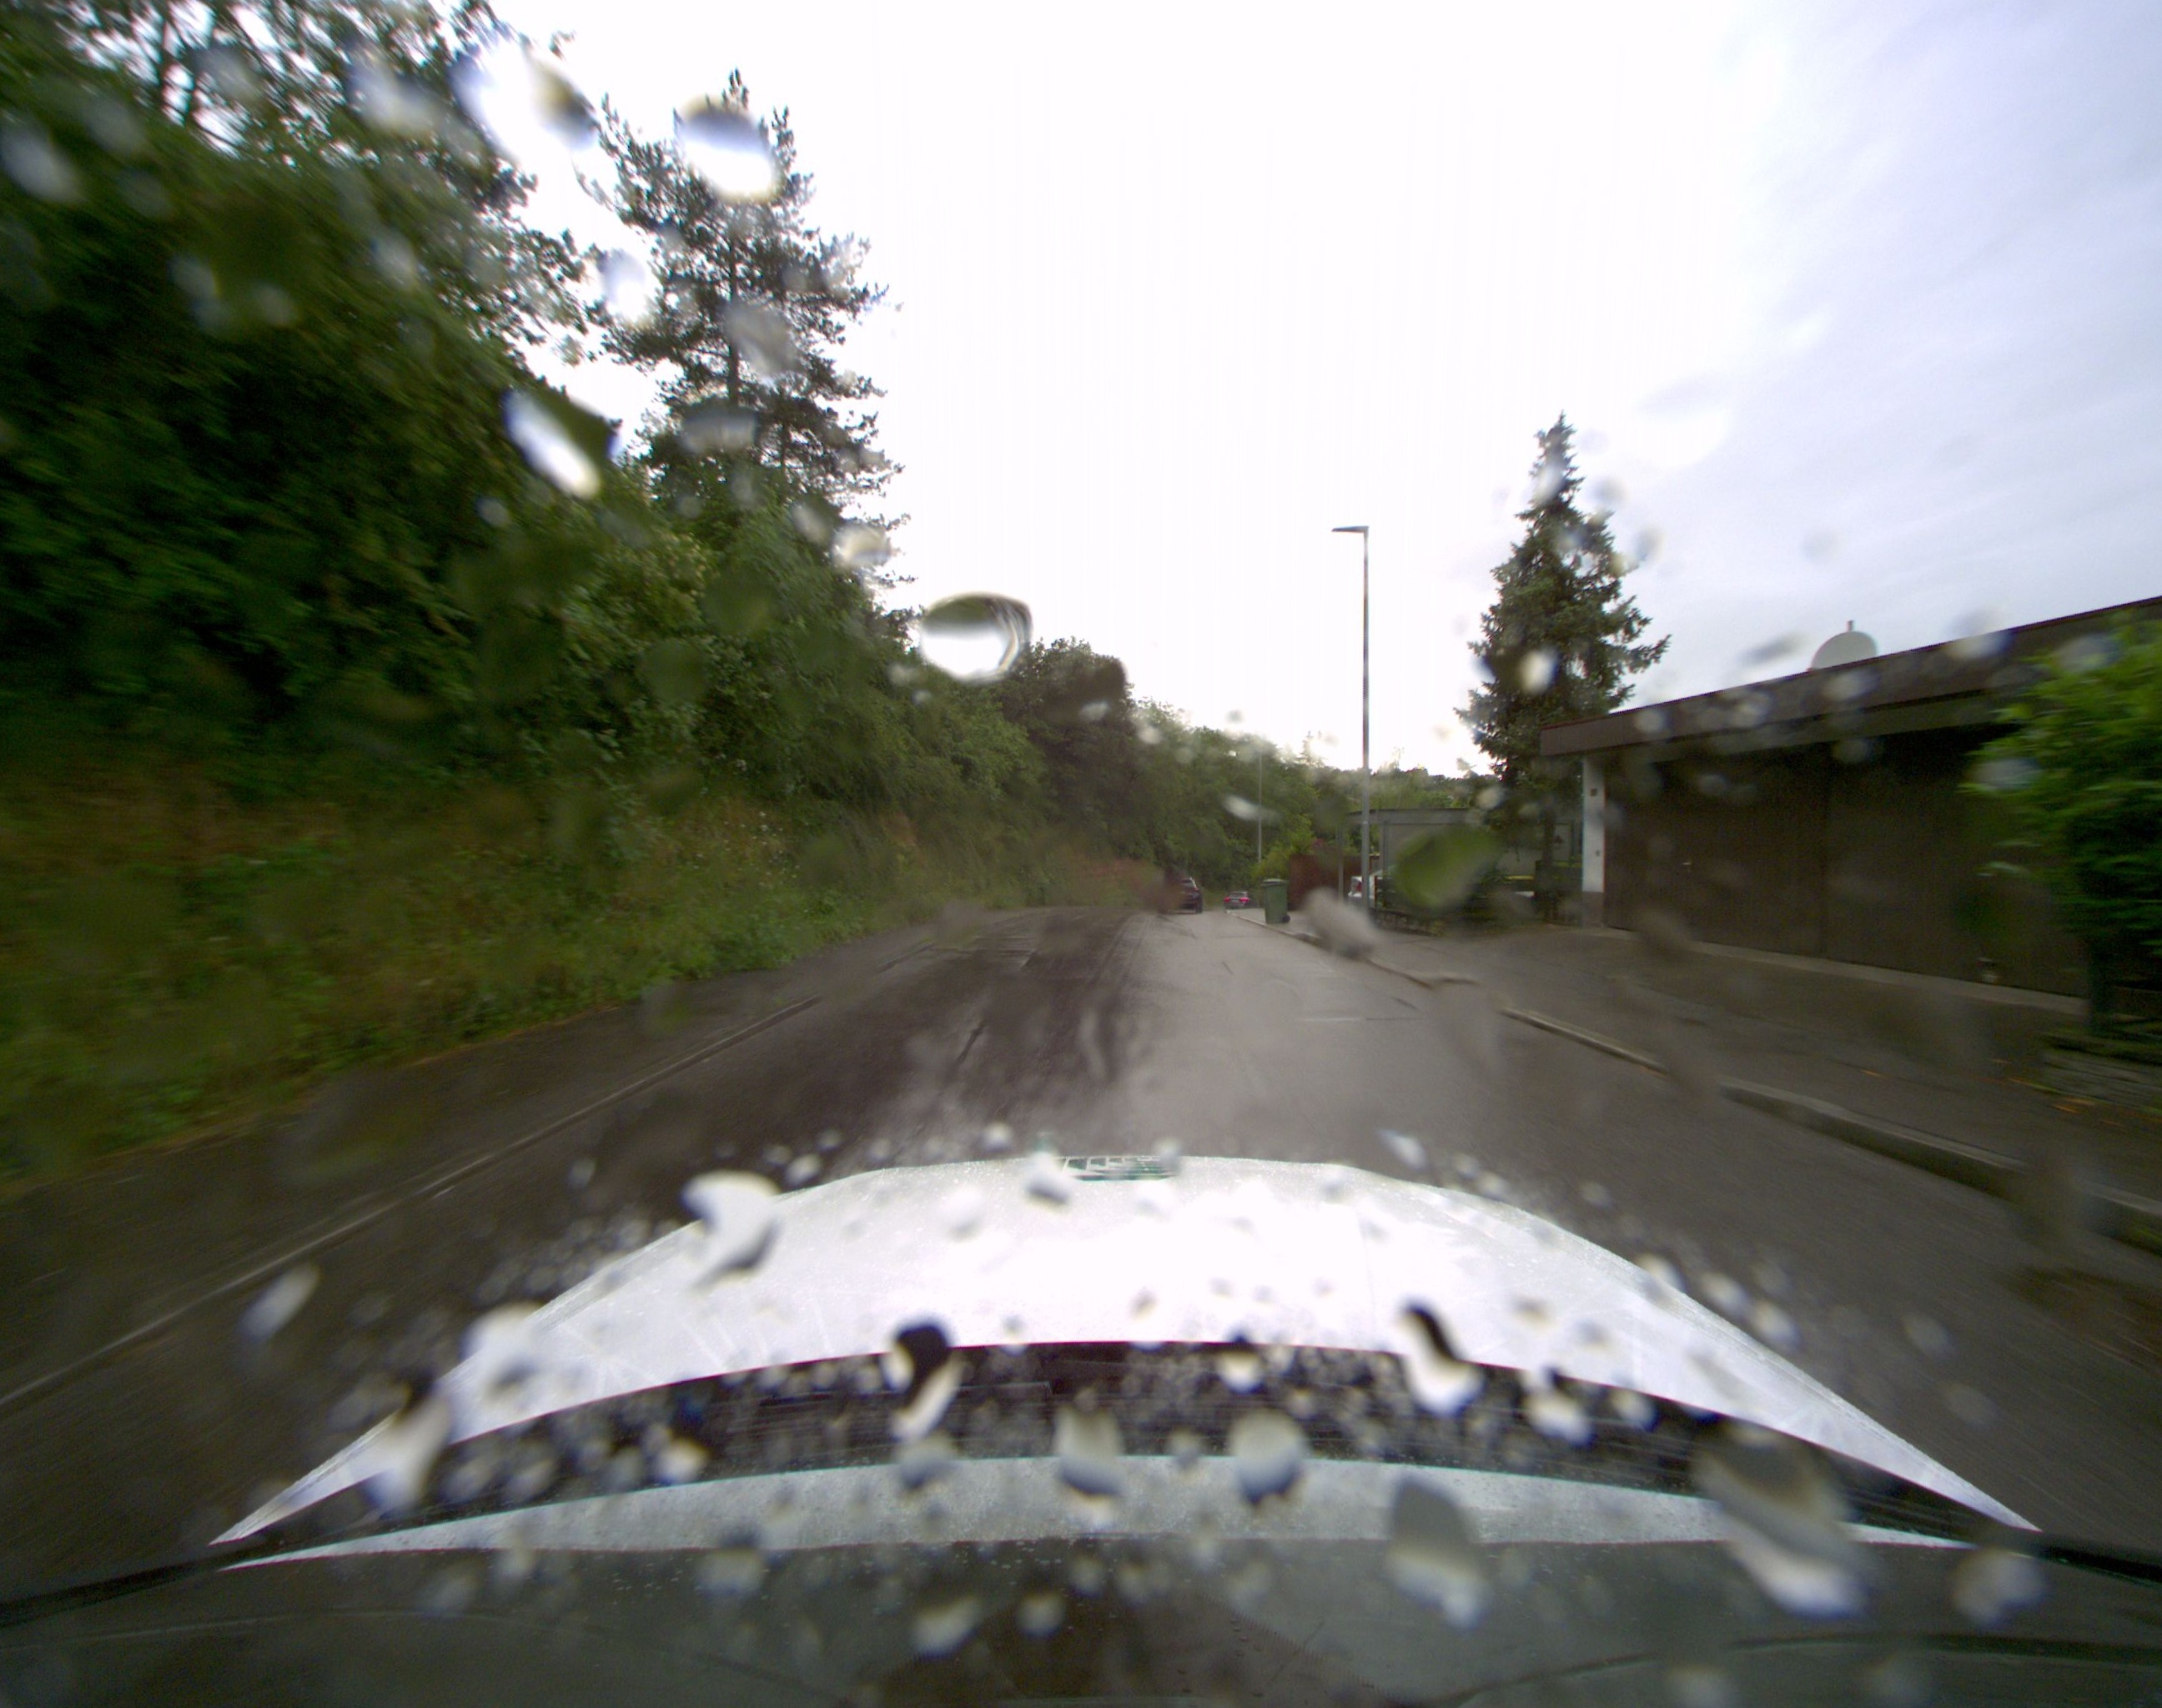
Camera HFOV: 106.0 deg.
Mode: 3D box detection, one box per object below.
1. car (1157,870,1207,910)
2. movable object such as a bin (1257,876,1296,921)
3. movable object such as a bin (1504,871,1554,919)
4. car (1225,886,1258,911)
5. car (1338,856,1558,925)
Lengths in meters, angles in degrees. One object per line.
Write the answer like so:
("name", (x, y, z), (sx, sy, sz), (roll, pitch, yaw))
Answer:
("car", (4.136, 1.508, 33.745), (1.860, 1.513, 4.096), (1, -3, 4))
("movable object such as a bin", (4.993, 1.128, 20.842), (0.786, 1.096, 0.676), (-4, -2, 3))
("movable object such as a bin", (10.450, 0.946, 19.020), (0.944, 1.057, 0.575), (-1, 1, 22))
("car", (12.119, 3.310, 61.167), (1.978, 1.605, 4.429), (0, 1, 17))
("car", (7.980, 0.781, 18.152), (4.187, 1.415, 1.948), (0, -2, 13))
